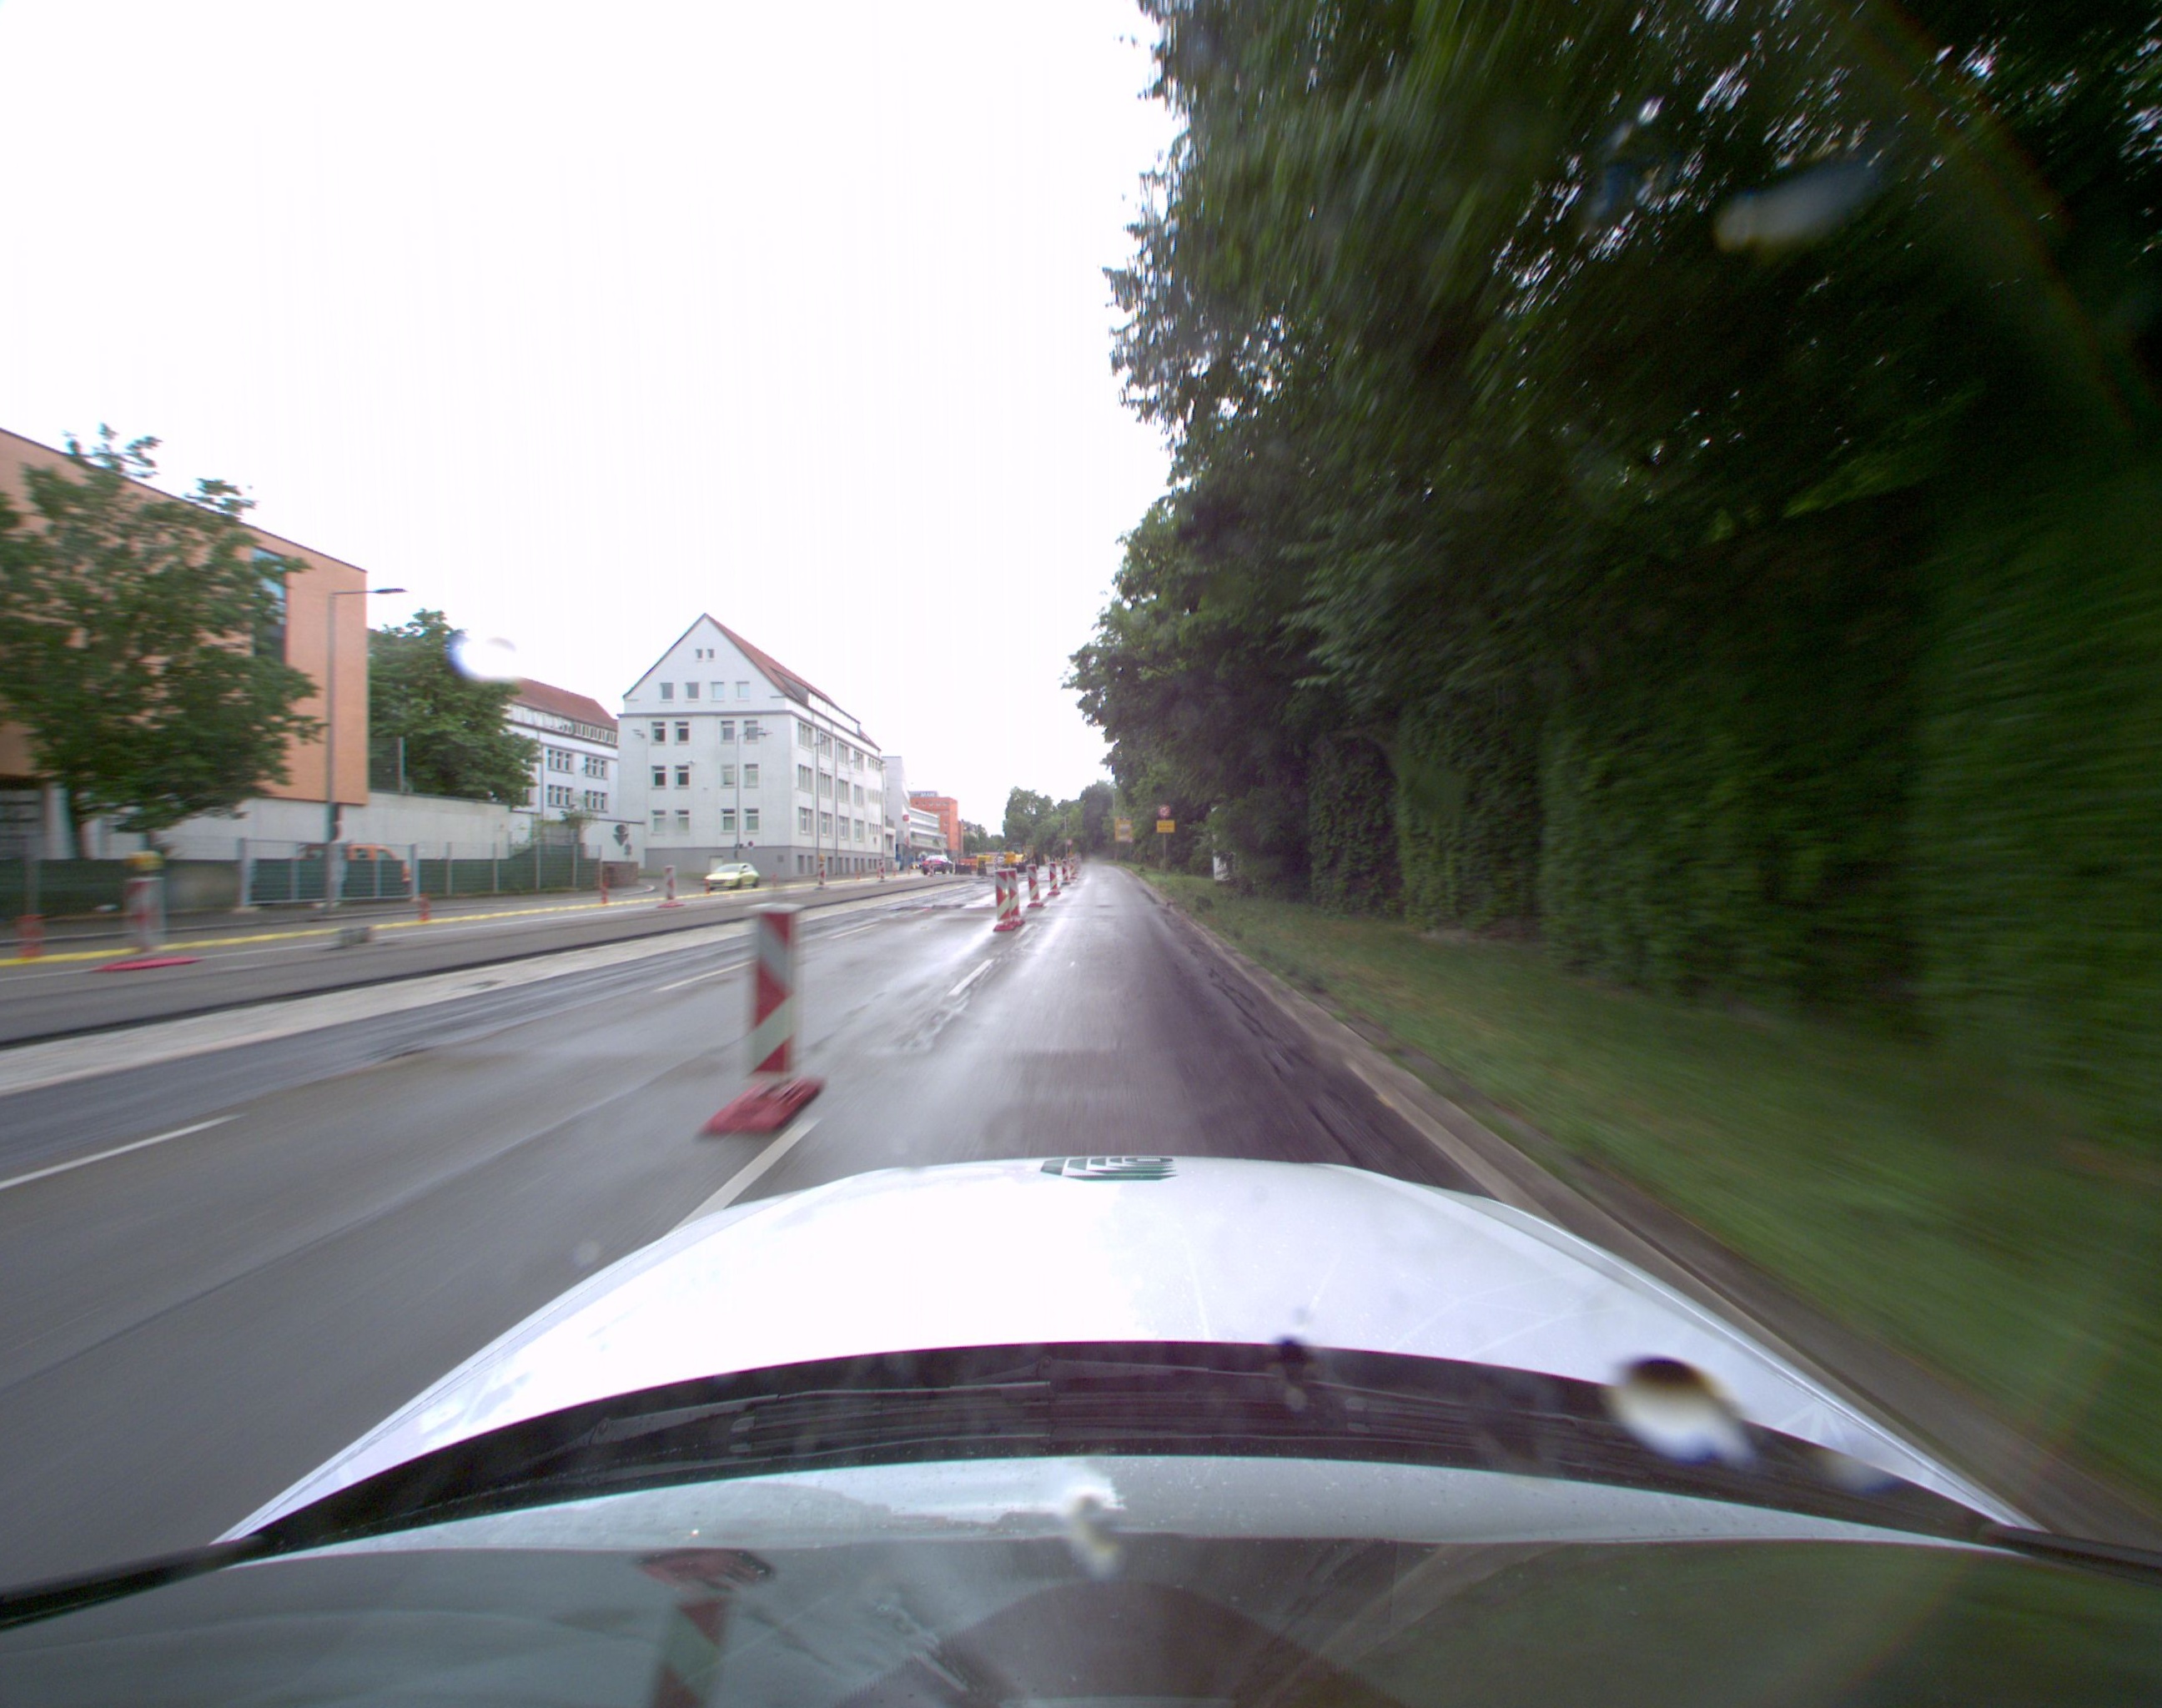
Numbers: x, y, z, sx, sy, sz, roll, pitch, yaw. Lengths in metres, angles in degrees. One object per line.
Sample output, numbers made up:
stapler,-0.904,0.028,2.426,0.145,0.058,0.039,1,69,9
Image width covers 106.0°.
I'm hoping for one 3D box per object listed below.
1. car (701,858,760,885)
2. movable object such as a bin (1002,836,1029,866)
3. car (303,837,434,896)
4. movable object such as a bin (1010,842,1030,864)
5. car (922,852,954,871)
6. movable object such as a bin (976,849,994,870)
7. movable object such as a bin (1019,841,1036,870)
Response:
car,-19.604,0.934,45.681,1.548,1.368,3.806,-3,0,1
movable object such as a bin,-6.054,-0.271,75.693,1.895,2.609,5.384,-2,0,1
car,-28.017,0.464,32.205,1.604,2.170,4.000,-1,0,1
movable object such as a bin,-6.035,-0.069,81.098,1.357,2.090,5.031,-2,0,1
car,-12.839,0.671,73.417,1.885,1.650,4.398,-1,0,2
movable object such as a bin,-7.896,0.447,67.123,1.079,1.644,2.439,-1,0,1
movable object such as a bin,-5.958,0.140,90.456,1.461,3.008,3.724,-3,0,0
